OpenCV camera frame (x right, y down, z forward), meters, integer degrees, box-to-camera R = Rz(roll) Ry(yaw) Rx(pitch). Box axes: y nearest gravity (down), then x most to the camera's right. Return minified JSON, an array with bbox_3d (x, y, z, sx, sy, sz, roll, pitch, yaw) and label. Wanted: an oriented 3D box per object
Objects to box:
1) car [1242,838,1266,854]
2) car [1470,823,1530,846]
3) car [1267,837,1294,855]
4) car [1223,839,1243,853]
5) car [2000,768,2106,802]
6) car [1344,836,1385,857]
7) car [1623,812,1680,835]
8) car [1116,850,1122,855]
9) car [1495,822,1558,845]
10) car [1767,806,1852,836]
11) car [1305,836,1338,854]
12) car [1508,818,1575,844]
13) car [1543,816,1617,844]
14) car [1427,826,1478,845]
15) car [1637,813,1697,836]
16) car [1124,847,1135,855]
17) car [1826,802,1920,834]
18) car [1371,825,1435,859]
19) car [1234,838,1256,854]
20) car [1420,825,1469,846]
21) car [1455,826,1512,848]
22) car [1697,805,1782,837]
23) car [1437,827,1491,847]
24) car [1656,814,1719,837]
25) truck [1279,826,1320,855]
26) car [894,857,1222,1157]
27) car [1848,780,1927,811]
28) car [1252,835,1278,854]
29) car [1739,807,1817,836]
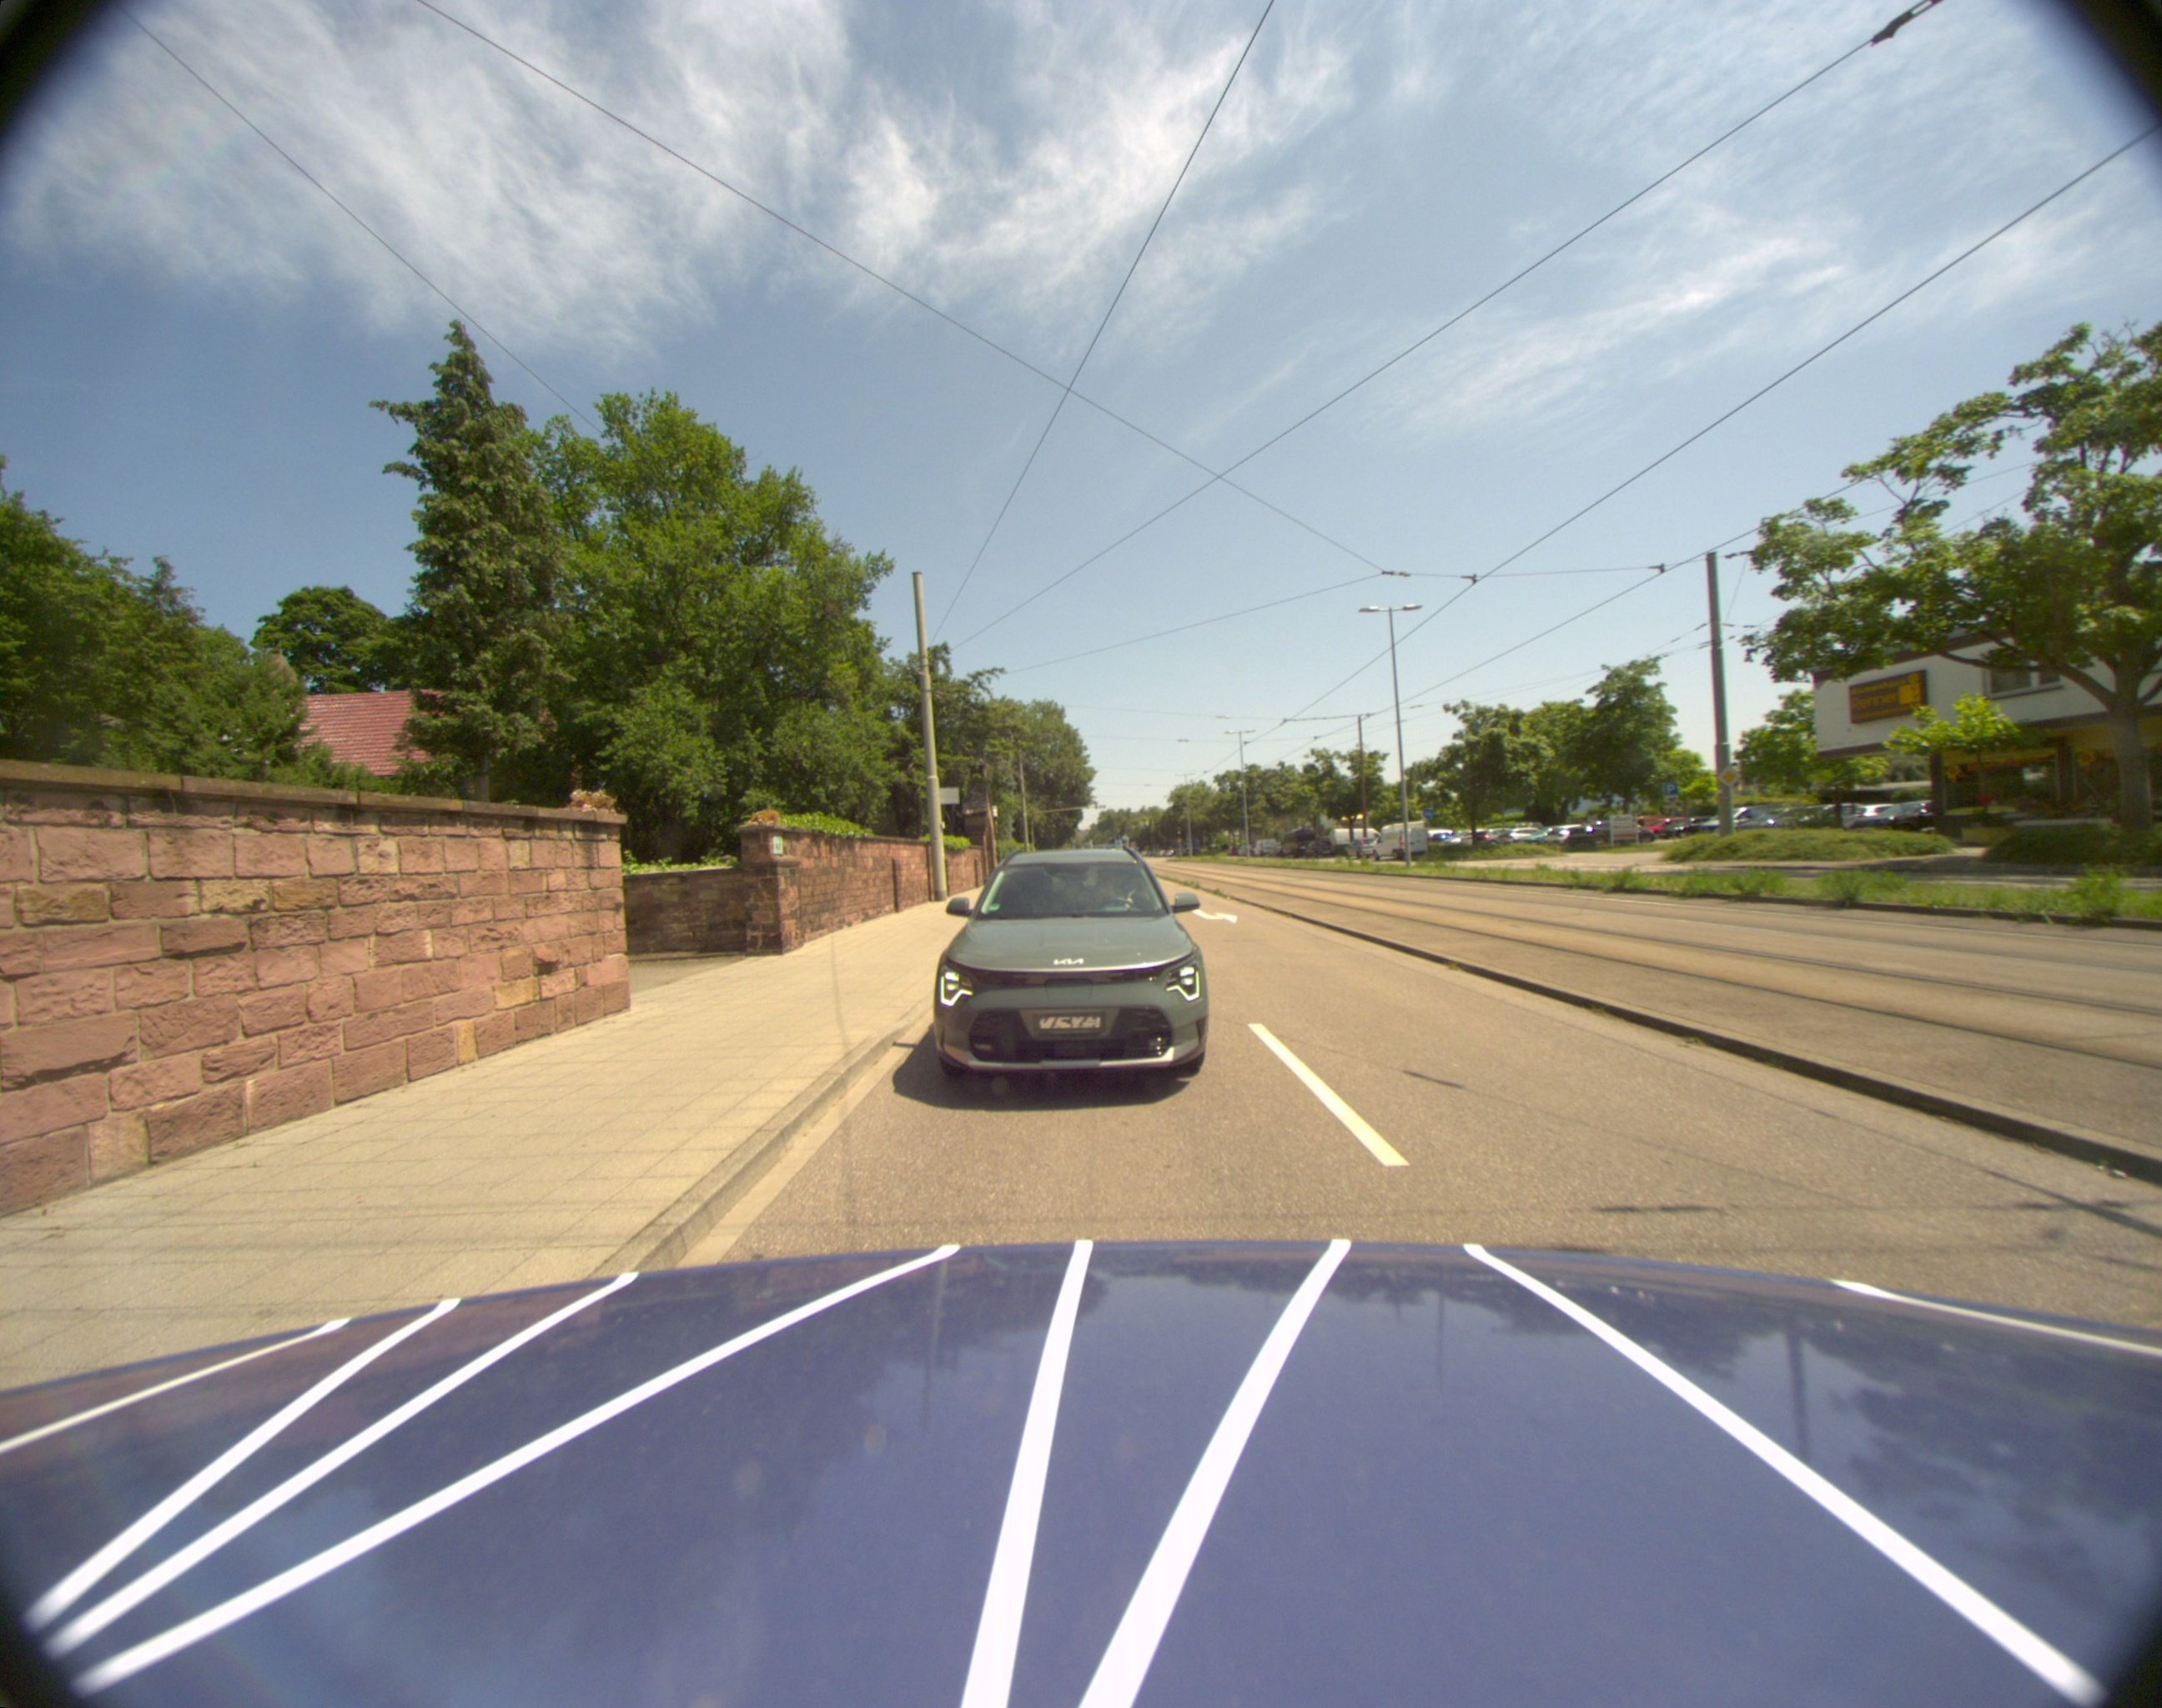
[{"bbox_3d":[20.458,-0.930,90.008,1.681,1.783,4.202,-3,0,0],"label":"car"},{"bbox_3d":[30.111,-1.411,54.627,3.414,1.386,1.602,-4,1,-5],"label":"car"},{"bbox_3d":[20.658,-0.822,78.786,1.681,1.783,3.868,-3,0,0],"label":"car"},{"bbox_3d":[20.285,-1.023,101.513,1.681,1.693,3.823,-3,0,0],"label":"car"},{"bbox_3d":[62.005,-4.408,48.519,3.996,1.761,2.000,-3,1,2],"label":"car"},{"bbox_3d":[20.197,-0.532,54.240,1.675,1.378,3.569,-3,0,2],"label":"car"},{"bbox_3d":[44.848,-2.418,59.756,3.355,1.552,1.506,-3,1,-2],"label":"car"},{"bbox_3d":[12.389,-0.470,249.193,1.737,1.469,4.000,-4,0,0],"label":"car"},{"bbox_3d":[30.679,-1.406,52.367,3.414,1.386,1.602,-4,1,-5],"label":"car"},{"bbox_3d":[42.693,-1.930,44.577,3.492,1.528,1.624,-3,1,-2],"label":"car"},{"bbox_3d":[20.269,-0.739,64.178,1.675,1.378,3.669,-3,0,2],"label":"car"},{"bbox_3d":[30.228,-1.484,49.880,3.414,1.482,1.598,-4,1,-5],"label":"car"},{"bbox_3d":[30.946,-1.504,47.189,3.414,1.482,1.793,-4,1,-5],"label":"car"},{"bbox_3d":[30.807,-1.536,63.029,3.414,1.386,1.602,-4,1,-5],"label":"car"},{"bbox_3d":[44.231,-2.236,57.377,3.355,1.450,1.506,-3,1,-2],"label":"car"},{"bbox_3d":[10.279,-0.631,159.706,1.998,1.652,4.000,-3,0,0],"label":"car"},{"bbox_3d":[43.697,-1.965,41.964,3.492,1.528,1.624,-3,1,-2],"label":"car"},{"bbox_3d":[20.221,-0.726,47.883,1.998,1.872,4.661,-3,0,1],"label":"car"},{"bbox_3d":[20.394,-0.982,94.615,1.681,1.783,4.202,-3,0,0],"label":"car"},{"bbox_3d":[31.391,-1.589,65.622,3.414,1.497,1.602,-4,1,-5],"label":"car"},{"bbox_3d":[30.548,-1.285,57.730,3.414,1.386,1.602,-4,1,-5],"label":"car"},{"bbox_3d":[42.872,-2.151,49.504,3.998,1.774,1.813,-3,1,-2],"label":"car"},{"bbox_3d":[30.290,-1.339,60.136,3.414,1.386,1.602,-4,1,-5],"label":"car"},{"bbox_3d":[43.705,-2.042,54.800,3.355,1.381,1.506,-3,1,-2],"label":"car"},{"bbox_3d":[20.160,-1.225,70.322,2.225,2.526,4.929,-3,0,1],"label":"truck"},{"bbox_3d":[-0.102,0.876,6.370,1.789,1.561,4.183,-2,1,1],"label":"car"},{"bbox_3d":[63.407,-4.572,59.795,3.996,2.002,2.000,-3,1,2],"label":"car"},{"bbox_3d":[20.411,-1.030,84.377,1.681,1.963,4.509,-3,0,0],"label":"car"},{"bbox_3d":[43.264,-2.003,47.209,3.492,1.528,1.534,-3,1,-2],"label":"car"}]
